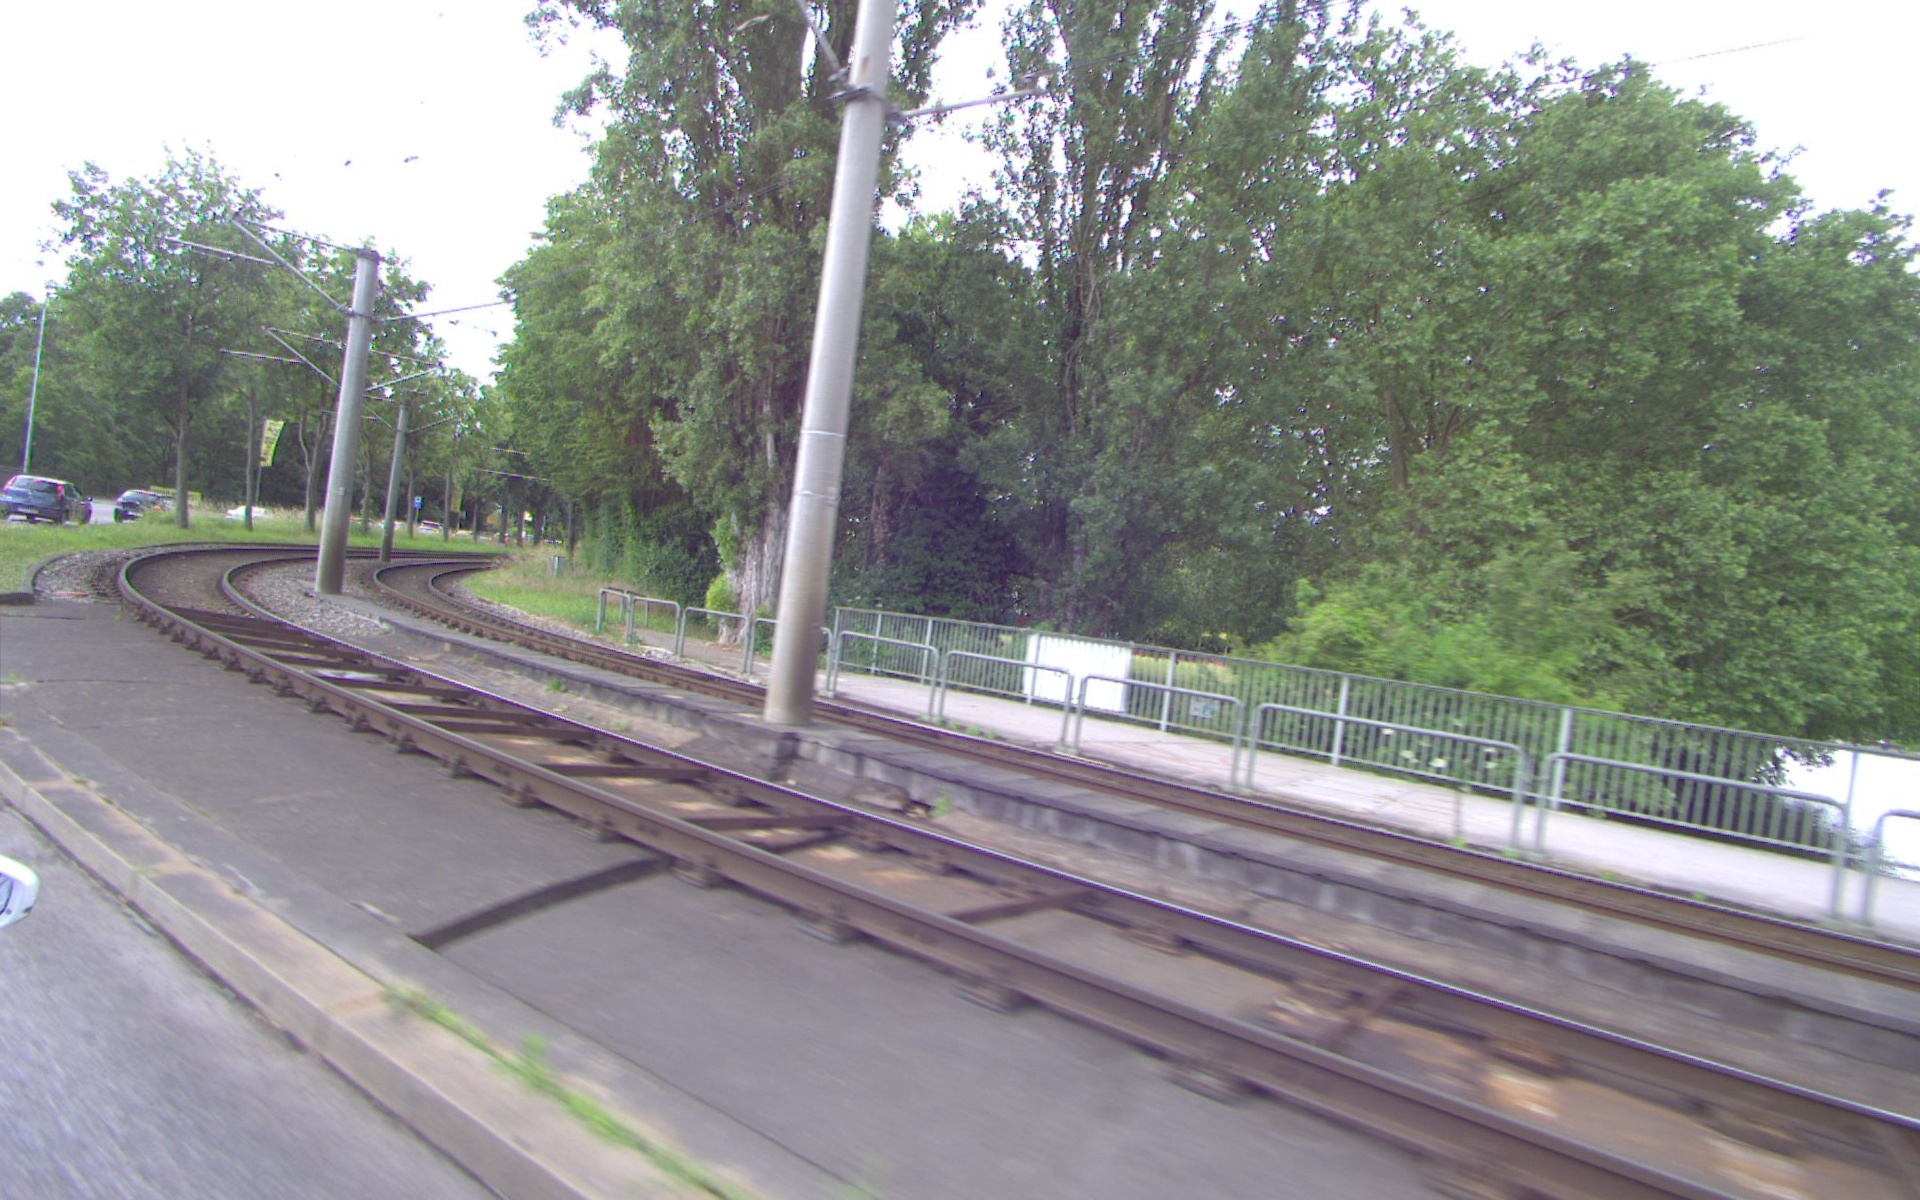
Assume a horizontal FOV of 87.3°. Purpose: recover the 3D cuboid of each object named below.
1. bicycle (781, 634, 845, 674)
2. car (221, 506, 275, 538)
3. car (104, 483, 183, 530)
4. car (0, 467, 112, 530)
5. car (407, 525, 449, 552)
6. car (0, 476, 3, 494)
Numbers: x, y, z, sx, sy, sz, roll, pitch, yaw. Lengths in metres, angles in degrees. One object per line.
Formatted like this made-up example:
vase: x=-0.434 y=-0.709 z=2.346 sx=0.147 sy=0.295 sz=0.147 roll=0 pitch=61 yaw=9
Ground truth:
bicycle: x=-4.840 y=1.790 z=33.185 sx=2.067 sy=1.062 sz=0.422 roll=10 pitch=-1 yaw=-41
car: x=-38.078 y=-4.158 z=53.866 sx=1.486 sy=1.381 sz=3.567 roll=7 pitch=0 yaw=-23
car: x=-33.594 y=-3.800 z=41.480 sx=1.564 sy=1.557 sz=3.973 roll=8 pitch=0 yaw=-27
car: x=-29.995 y=-3.295 z=33.380 sx=1.879 sy=1.592 sz=3.971 roll=9 pitch=-1 yaw=-28
car: x=-44.817 y=-5.149 z=84.850 sx=1.904 sy=1.882 sz=3.990 roll=8 pitch=0 yaw=-13
car: x=-25.853 y=-2.632 z=25.234 sx=1.765 sy=1.511 sz=3.965 roll=10 pitch=-2 yaw=-33
